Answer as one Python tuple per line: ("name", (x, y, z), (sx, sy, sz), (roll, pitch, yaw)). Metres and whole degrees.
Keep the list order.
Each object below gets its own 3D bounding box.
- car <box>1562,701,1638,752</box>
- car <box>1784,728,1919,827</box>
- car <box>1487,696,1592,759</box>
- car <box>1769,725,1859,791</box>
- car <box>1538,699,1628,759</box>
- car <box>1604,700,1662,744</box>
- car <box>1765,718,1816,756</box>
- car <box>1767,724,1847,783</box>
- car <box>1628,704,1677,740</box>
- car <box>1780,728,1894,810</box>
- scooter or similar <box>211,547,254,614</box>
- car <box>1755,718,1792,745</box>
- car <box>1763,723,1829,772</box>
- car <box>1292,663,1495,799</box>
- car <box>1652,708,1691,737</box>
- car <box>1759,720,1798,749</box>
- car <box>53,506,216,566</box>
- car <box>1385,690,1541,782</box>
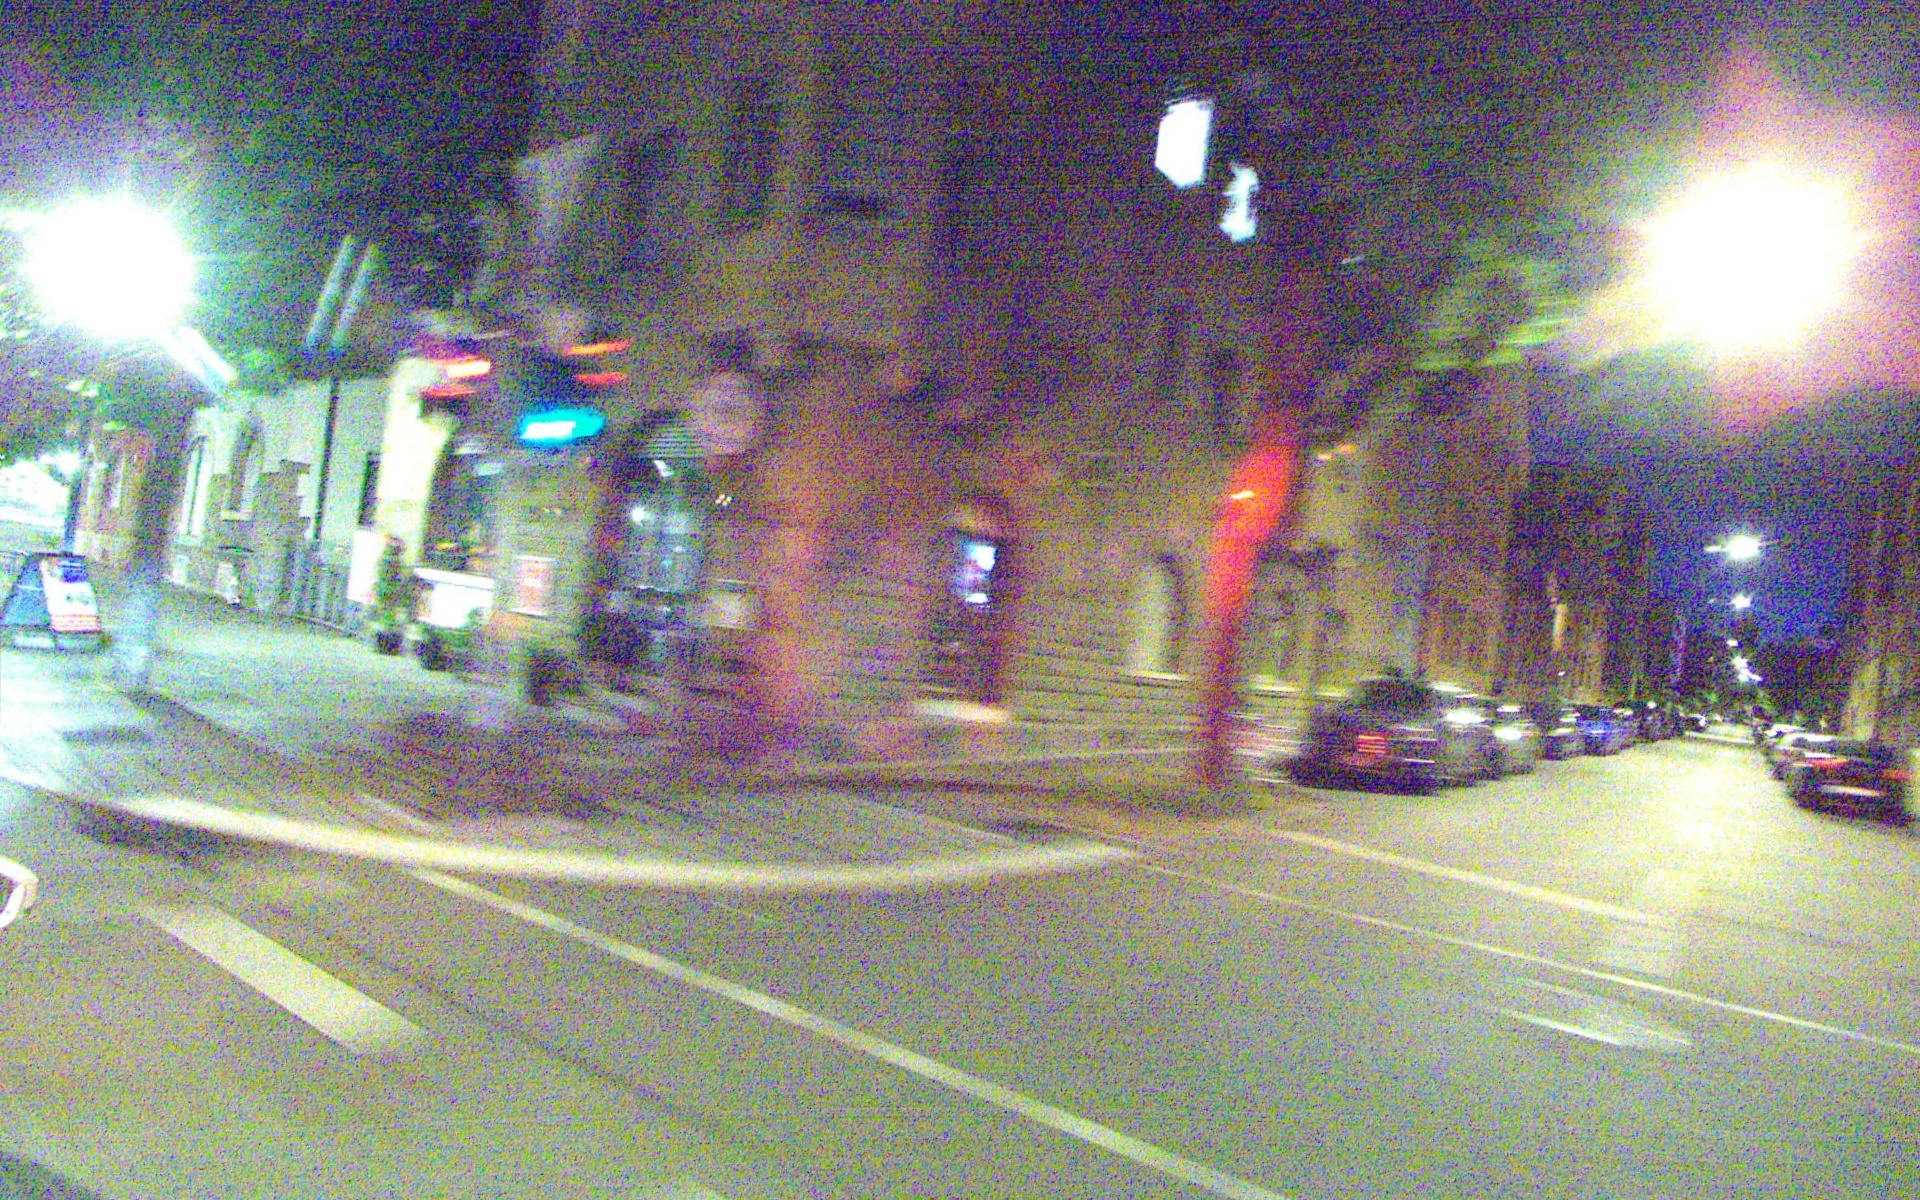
("car", (23.271, 4.598, 36.501), (1.874, 1.581, 3.986), (2, -4, 39))
("car", (17.631, 3.439, 20.006), (1.716, 1.503, 3.763), (7, -2, 39))
("car", (15.954, 3.502, 27.618), (1.874, 1.443, 3.986), (2, -5, 39))
("car", (24.592, 4.524, 29.074), (1.716, 1.503, 3.763), (7, -2, 39))
("car", (19.489, 4.011, 31.404), (1.874, 1.581, 3.986), (2, -4, 39))
("car", (31.924, 5.769, 47.665), (1.874, 1.827, 3.986), (2, -4, 39))
("car", (40.573, 6.686, 49.191), (1.716, 1.503, 3.763), (7, -2, 39))
("car", (27.226, 4.915, 32.425), (1.716, 1.503, 3.763), (7, -2, 39))
("car", (38.231, 6.750, 55.499), (1.874, 1.765, 3.986), (2, -4, 39))
("car", (20.476, 3.900, 23.615), (1.716, 1.503, 3.763), (7, -2, 39))
("scooter or similar", (-13.900, -0.387, 19.207), (0.420, 1.144, 1.476), (7, 0, -41))
("car", (54.578, 8.824, 67.536), (1.716, 1.503, 3.763), (7, -2, 39))
("car", (31.908, 5.602, 38.488), (1.716, 1.503, 3.763), (7, -2, 39))
("car", (6.860, 2.008, 15.688), (1.842, 1.712, 3.986), (2, -4, 39))
("car", (48.369, 8.325, 68.367), (1.874, 1.765, 3.986), (2, -4, 39))
("car", (51.885, 8.547, 63.831), (1.716, 1.503, 3.763), (7, -2, 39))
("car", (-30.128, -2.303, 36.804), (4.416, 1.477, 1.766), (8, 0, -44))
("car", (9.868, 2.619, 19.590), (1.874, 1.443, 3.986), (2, -5, 39))
